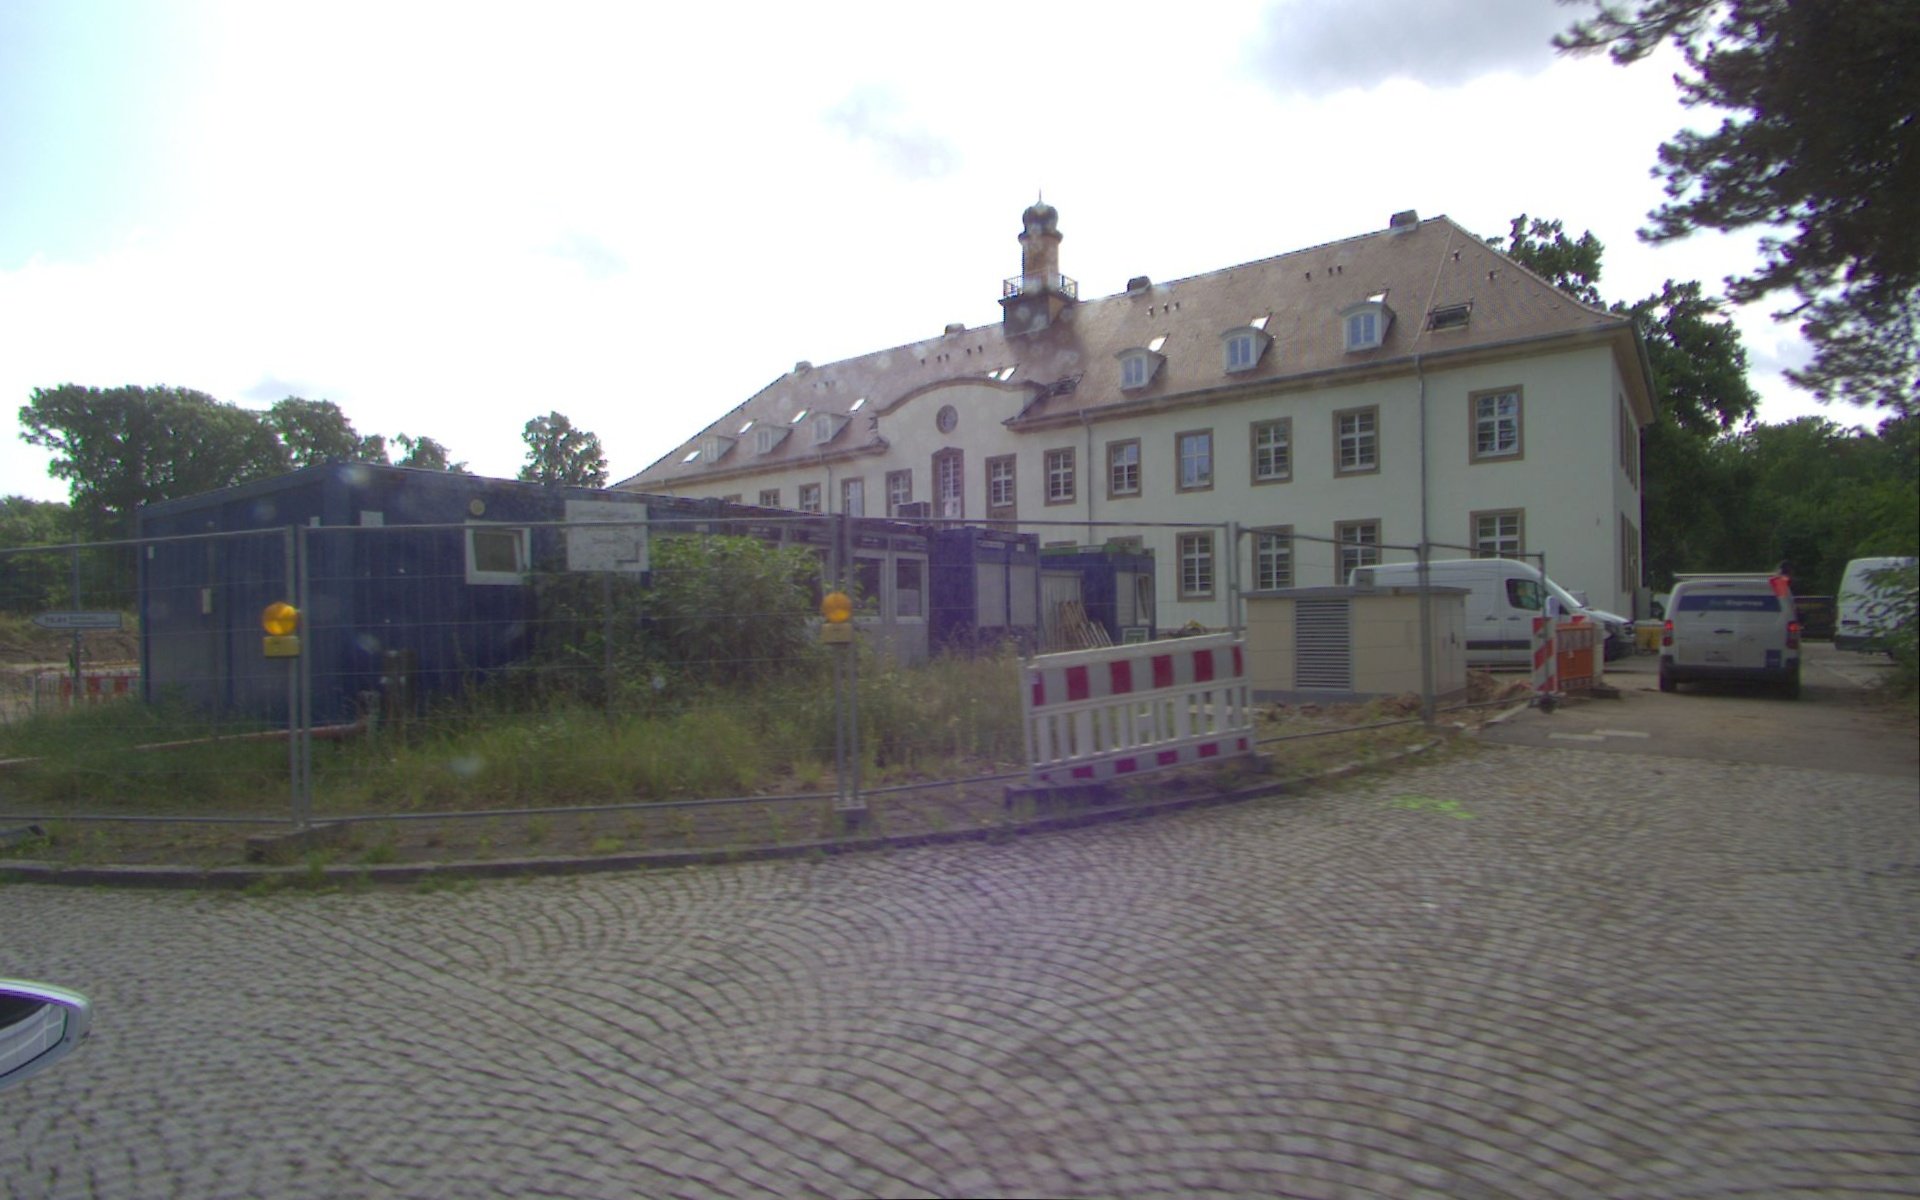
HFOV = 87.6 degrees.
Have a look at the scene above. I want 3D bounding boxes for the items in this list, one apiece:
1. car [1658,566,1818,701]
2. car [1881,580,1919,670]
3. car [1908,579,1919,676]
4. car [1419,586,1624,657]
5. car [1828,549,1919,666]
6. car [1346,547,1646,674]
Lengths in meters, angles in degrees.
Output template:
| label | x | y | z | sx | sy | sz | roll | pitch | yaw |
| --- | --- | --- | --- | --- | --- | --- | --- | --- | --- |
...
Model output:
| label | x | y | z | sx | sy | sz | roll | pitch | yaw |
| --- | --- | --- | --- | --- | --- | --- | --- | --- | --- |
| car | 13.101 | 0.503 | 16.962 | 1.882 | 1.946 | 4.841 | 0 | 0 | 37 |
| car | 22.092 | 0.506 | 20.232 | 4.781 | 1.848 | 2.000 | 0 | -2 | 10 |
| car | 20.564 | 0.486 | 17.996 | 4.781 | 1.848 | 2.000 | 0 | -2 | 10 |
| car | 15.801 | 0.659 | 28.339 | 4.815 | 1.848 | 1.986 | -2 | -3 | 39 |
| car | 24.135 | 0.188 | 22.971 | 6.299 | 2.610 | 2.001 | 0 | -2 | 7 |
| car | 12.191 | 0.326 | 23.072 | 5.839 | 2.588 | 1.986 | -2 | -2 | 39 |
